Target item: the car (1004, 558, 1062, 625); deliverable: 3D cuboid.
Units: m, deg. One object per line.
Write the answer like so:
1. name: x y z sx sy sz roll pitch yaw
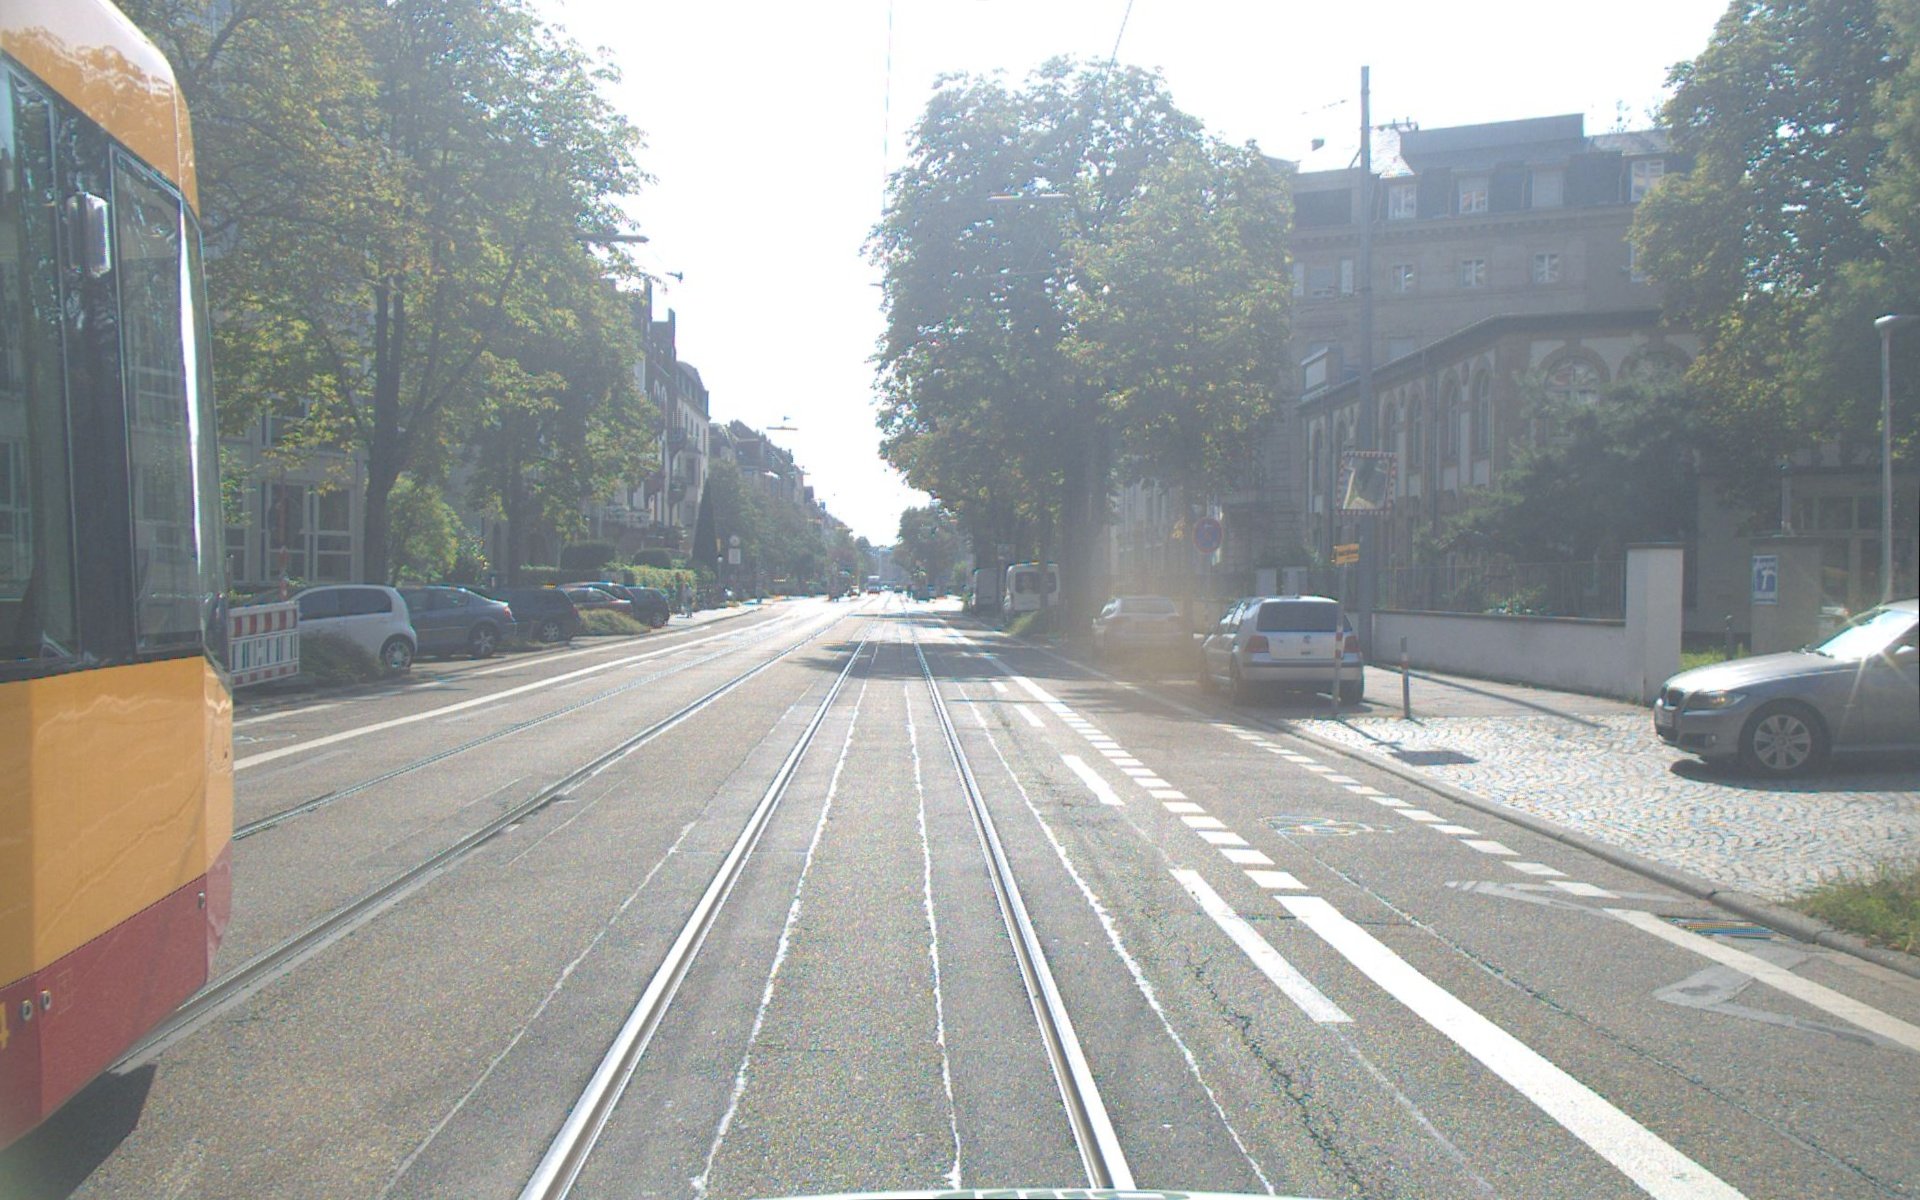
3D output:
1. car: 2.822 -0.336 64.724 1.964 2.534 4.476 0 1 -1

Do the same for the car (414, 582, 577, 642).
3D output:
1. car: -11.677 0.283 41.706 1.542 1.431 3.741 1 1 42

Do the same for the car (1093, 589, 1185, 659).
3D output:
1. car: 3.898 0.485 36.549 1.562 1.443 3.633 0 1 -1

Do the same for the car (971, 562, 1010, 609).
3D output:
1. car: 1.651 -0.795 91.527 1.964 2.518 4.476 0 1 -1

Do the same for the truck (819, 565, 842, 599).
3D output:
1. truck: -11.980 -1.659 152.747 1.954 3.027 4.568 0 0 -3

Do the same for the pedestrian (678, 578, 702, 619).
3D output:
1. pedestrian: -11.736 -0.058 71.957 0.942 1.791 0.661 0 0 -3

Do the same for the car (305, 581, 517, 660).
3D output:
1. car: -10.798 0.367 32.689 1.542 1.468 3.741 1 1 42

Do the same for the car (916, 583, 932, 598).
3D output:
1. car: -4.458 -1.175 204.082 1.953 1.870 3.999 0 1 -1

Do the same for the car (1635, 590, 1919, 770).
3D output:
1. car: 8.354 0.640 14.268 4.327 1.434 1.807 -1 -1 6

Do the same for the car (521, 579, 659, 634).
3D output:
1. car: -11.689 0.199 52.288 3.943 1.668 1.675 0 0 -29

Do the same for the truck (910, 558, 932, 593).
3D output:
1. truck: -3.612 -2.254 153.207 1.824 3.185 4.349 0 0 -4

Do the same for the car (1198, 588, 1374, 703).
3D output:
1. car: 4.428 0.568 22.974 1.655 1.443 3.633 0 1 -1

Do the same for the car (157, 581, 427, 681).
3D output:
1. car: -10.567 0.440 26.360 1.540 1.468 3.747 1 1 37
